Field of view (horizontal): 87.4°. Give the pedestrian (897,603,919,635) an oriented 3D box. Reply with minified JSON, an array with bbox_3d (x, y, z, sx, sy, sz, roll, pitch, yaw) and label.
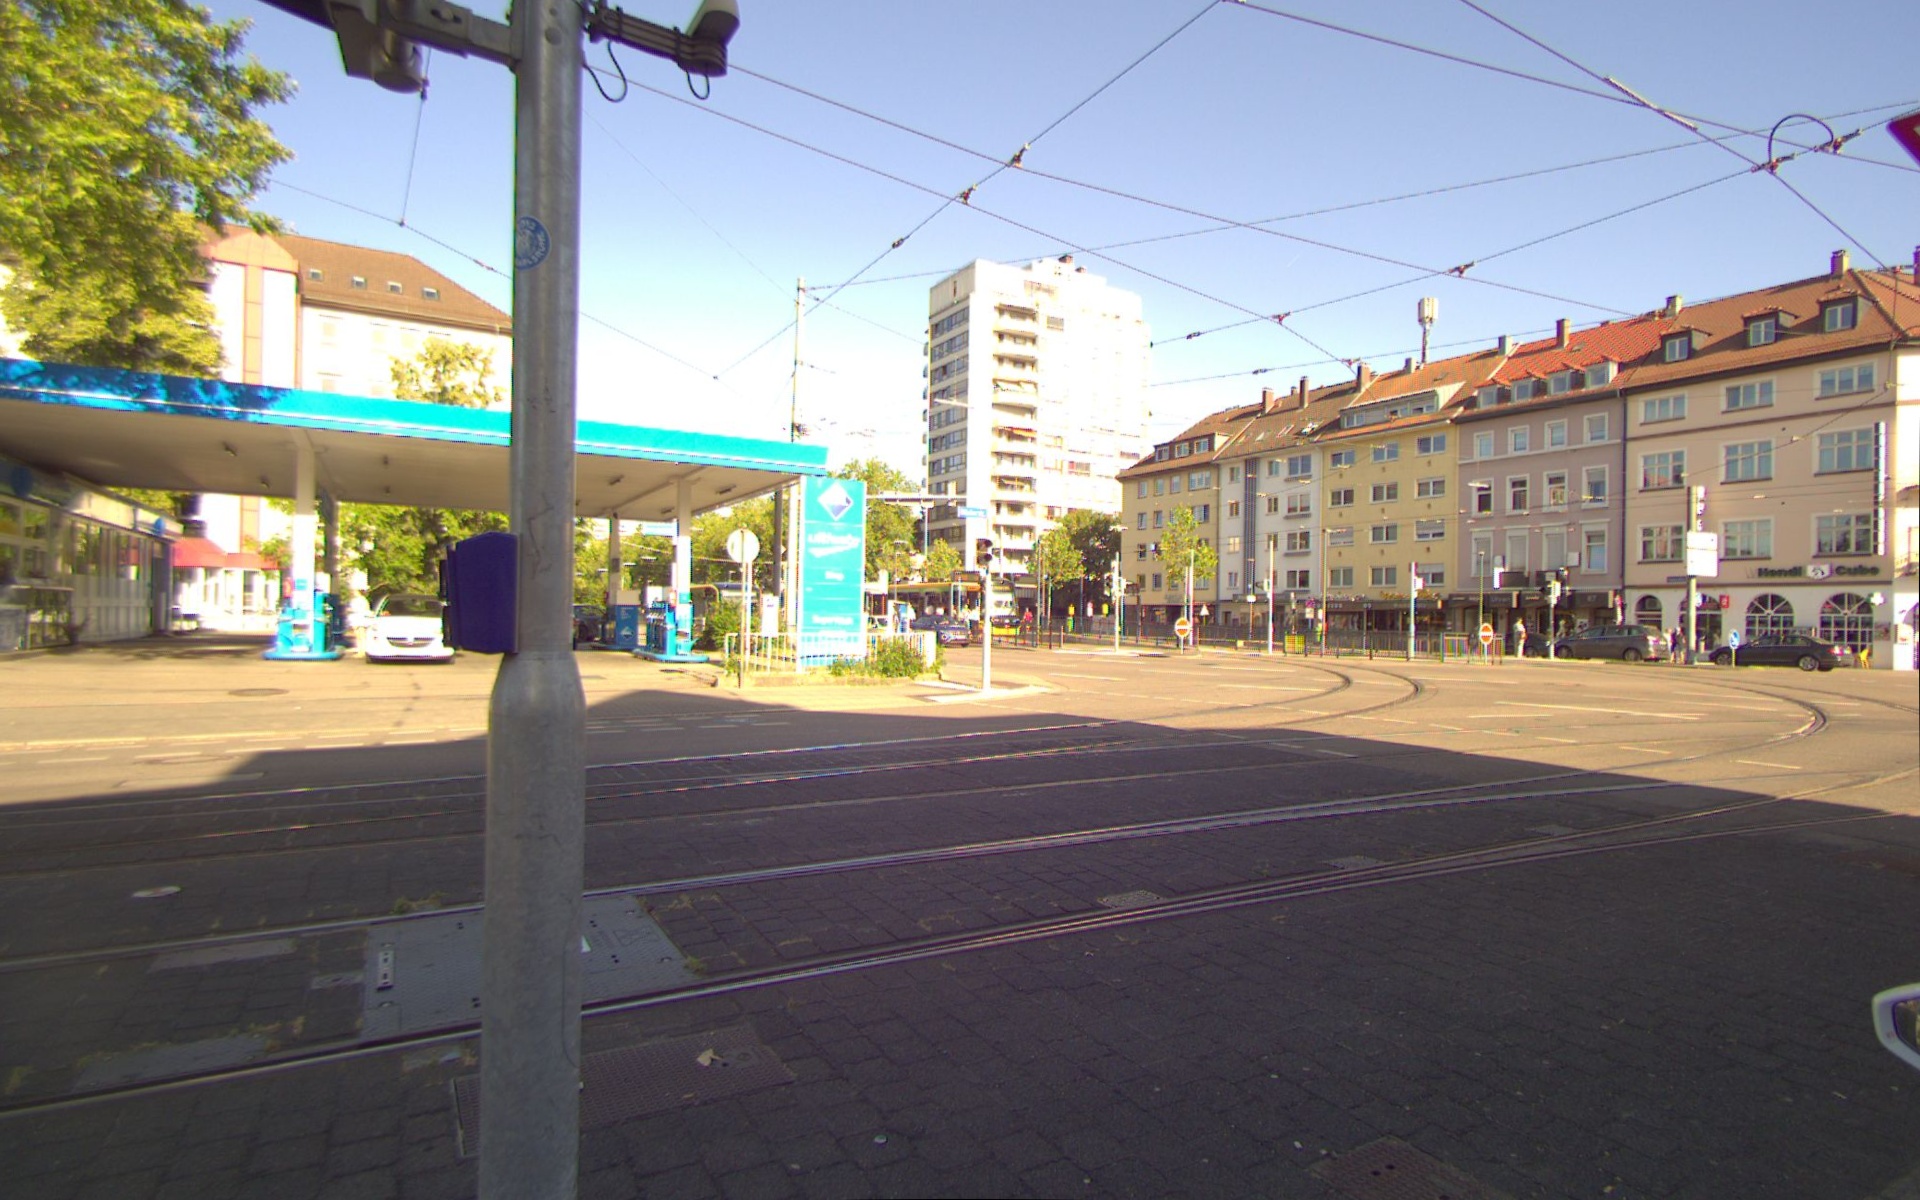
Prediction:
[{"bbox_3d":[-3.017,1.100,58.171,0.902,1.826,0.887,1,-1,-33],"label":"pedestrian"}]

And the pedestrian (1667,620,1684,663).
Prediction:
[{"bbox_3d":[34.211,1.982,48.024,0.498,2.040,0.507,1,-1,-27],"label":"pedestrian"}]

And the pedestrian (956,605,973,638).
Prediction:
[{"bbox_3d":[0.228,1.136,52.769,0.549,1.721,0.740,1,-1,-33],"label":"pedestrian"}]

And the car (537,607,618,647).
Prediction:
[{"bbox_3d":[-17.203,1.211,45.386,1.960,1.685,4.001,1,-1,2],"label":"car"}]

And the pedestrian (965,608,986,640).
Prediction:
[{"bbox_3d":[0.782,1.215,51.439,0.791,1.646,0.706,1,-1,-33],"label":"pedestrian"}]

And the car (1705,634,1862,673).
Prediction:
[{"bbox_3d":[32.728,2.080,40.062,1.977,1.358,4.487,1,-1,-31],"label":"car"}]

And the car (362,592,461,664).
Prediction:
[{"bbox_3d":[-12.271,0.606,22.436,1.773,1.461,3.968,2,-1,-30],"label":"car"}]

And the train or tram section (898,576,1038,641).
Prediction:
[{"bbox_3d":[0.231,0.516,58.967,3.252,3.459,10.157,1,-1,-33],"label":"train or tram section"}]

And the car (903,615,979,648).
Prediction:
[{"bbox_3d":[-0.958,1.491,48.351,1.937,1.475,4.077,1,0,-30],"label":"car"}]

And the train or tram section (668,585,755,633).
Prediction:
[{"bbox_3d":[-15.030,0.450,60.042,2.233,2.627,10.398,2,0,-30],"label":"train or tram section"}]

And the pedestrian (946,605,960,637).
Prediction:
[{"bbox_3d":[-0.360,1.119,53.627,0.491,1.721,0.553,1,-1,-33],"label":"pedestrian"}]

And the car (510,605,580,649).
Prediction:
[{"bbox_3d":[-13.501,0.864,32.581,1.752,1.332,3.520,1,-1,-28],"label":"car"}]

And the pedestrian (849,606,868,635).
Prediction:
[{"bbox_3d":[-6.449,1.296,63.670,0.902,1.826,0.887,1,-1,-33],"label":"pedestrian"}]

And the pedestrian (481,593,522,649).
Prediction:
[{"bbox_3d":[-15.405,0.698,33.763,0.896,1.826,0.893,0,-1,34],"label":"pedestrian"}]

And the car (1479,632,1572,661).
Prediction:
[{"bbox_3d":[30.776,2.494,54.718,1.980,1.483,3.962,1,-1,-34],"label":"car"}]

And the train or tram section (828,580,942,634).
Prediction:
[{"bbox_3d":[-5.250,0.519,67.585,3.252,3.335,10.157,1,-1,-33],"label":"train or tram section"}]

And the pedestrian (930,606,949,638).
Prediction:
[{"bbox_3d":[-1.090,1.173,54.405,0.773,1.721,0.692,1,-1,-33],"label":"pedestrian"}]

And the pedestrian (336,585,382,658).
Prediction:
[{"bbox_3d":[-13.927,0.504,23.300,0.801,1.652,0.643,1,-1,-24],"label":"pedestrian"}]

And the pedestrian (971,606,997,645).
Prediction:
[{"bbox_3d":[1.152,1.226,48.393,0.902,1.826,0.887,1,-1,-33],"label":"pedestrian"}]

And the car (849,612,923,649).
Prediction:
[{"bbox_3d":[-3.506,1.393,46.809,1.976,1.615,3.970,1,-1,-29],"label":"car"}]

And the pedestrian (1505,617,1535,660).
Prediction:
[{"bbox_3d":[24.496,1.694,43.959,0.801,1.842,0.871,1,-1,-29],"label":"pedestrian"}]

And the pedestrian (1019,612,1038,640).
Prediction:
[{"bbox_3d":[5.139,1.919,75.149,0.942,2.040,1.214,1,-1,-25],"label":"pedestrian"}]

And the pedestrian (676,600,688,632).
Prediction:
[{"bbox_3d":[-16.170,0.924,58.403,0.539,1.810,0.492,1,-1,-26],"label":"pedestrian"}]

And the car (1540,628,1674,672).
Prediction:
[{"bbox_3d":[27.969,2.126,43.551,1.976,1.694,4.489,1,-1,-30],"label":"car"}]
